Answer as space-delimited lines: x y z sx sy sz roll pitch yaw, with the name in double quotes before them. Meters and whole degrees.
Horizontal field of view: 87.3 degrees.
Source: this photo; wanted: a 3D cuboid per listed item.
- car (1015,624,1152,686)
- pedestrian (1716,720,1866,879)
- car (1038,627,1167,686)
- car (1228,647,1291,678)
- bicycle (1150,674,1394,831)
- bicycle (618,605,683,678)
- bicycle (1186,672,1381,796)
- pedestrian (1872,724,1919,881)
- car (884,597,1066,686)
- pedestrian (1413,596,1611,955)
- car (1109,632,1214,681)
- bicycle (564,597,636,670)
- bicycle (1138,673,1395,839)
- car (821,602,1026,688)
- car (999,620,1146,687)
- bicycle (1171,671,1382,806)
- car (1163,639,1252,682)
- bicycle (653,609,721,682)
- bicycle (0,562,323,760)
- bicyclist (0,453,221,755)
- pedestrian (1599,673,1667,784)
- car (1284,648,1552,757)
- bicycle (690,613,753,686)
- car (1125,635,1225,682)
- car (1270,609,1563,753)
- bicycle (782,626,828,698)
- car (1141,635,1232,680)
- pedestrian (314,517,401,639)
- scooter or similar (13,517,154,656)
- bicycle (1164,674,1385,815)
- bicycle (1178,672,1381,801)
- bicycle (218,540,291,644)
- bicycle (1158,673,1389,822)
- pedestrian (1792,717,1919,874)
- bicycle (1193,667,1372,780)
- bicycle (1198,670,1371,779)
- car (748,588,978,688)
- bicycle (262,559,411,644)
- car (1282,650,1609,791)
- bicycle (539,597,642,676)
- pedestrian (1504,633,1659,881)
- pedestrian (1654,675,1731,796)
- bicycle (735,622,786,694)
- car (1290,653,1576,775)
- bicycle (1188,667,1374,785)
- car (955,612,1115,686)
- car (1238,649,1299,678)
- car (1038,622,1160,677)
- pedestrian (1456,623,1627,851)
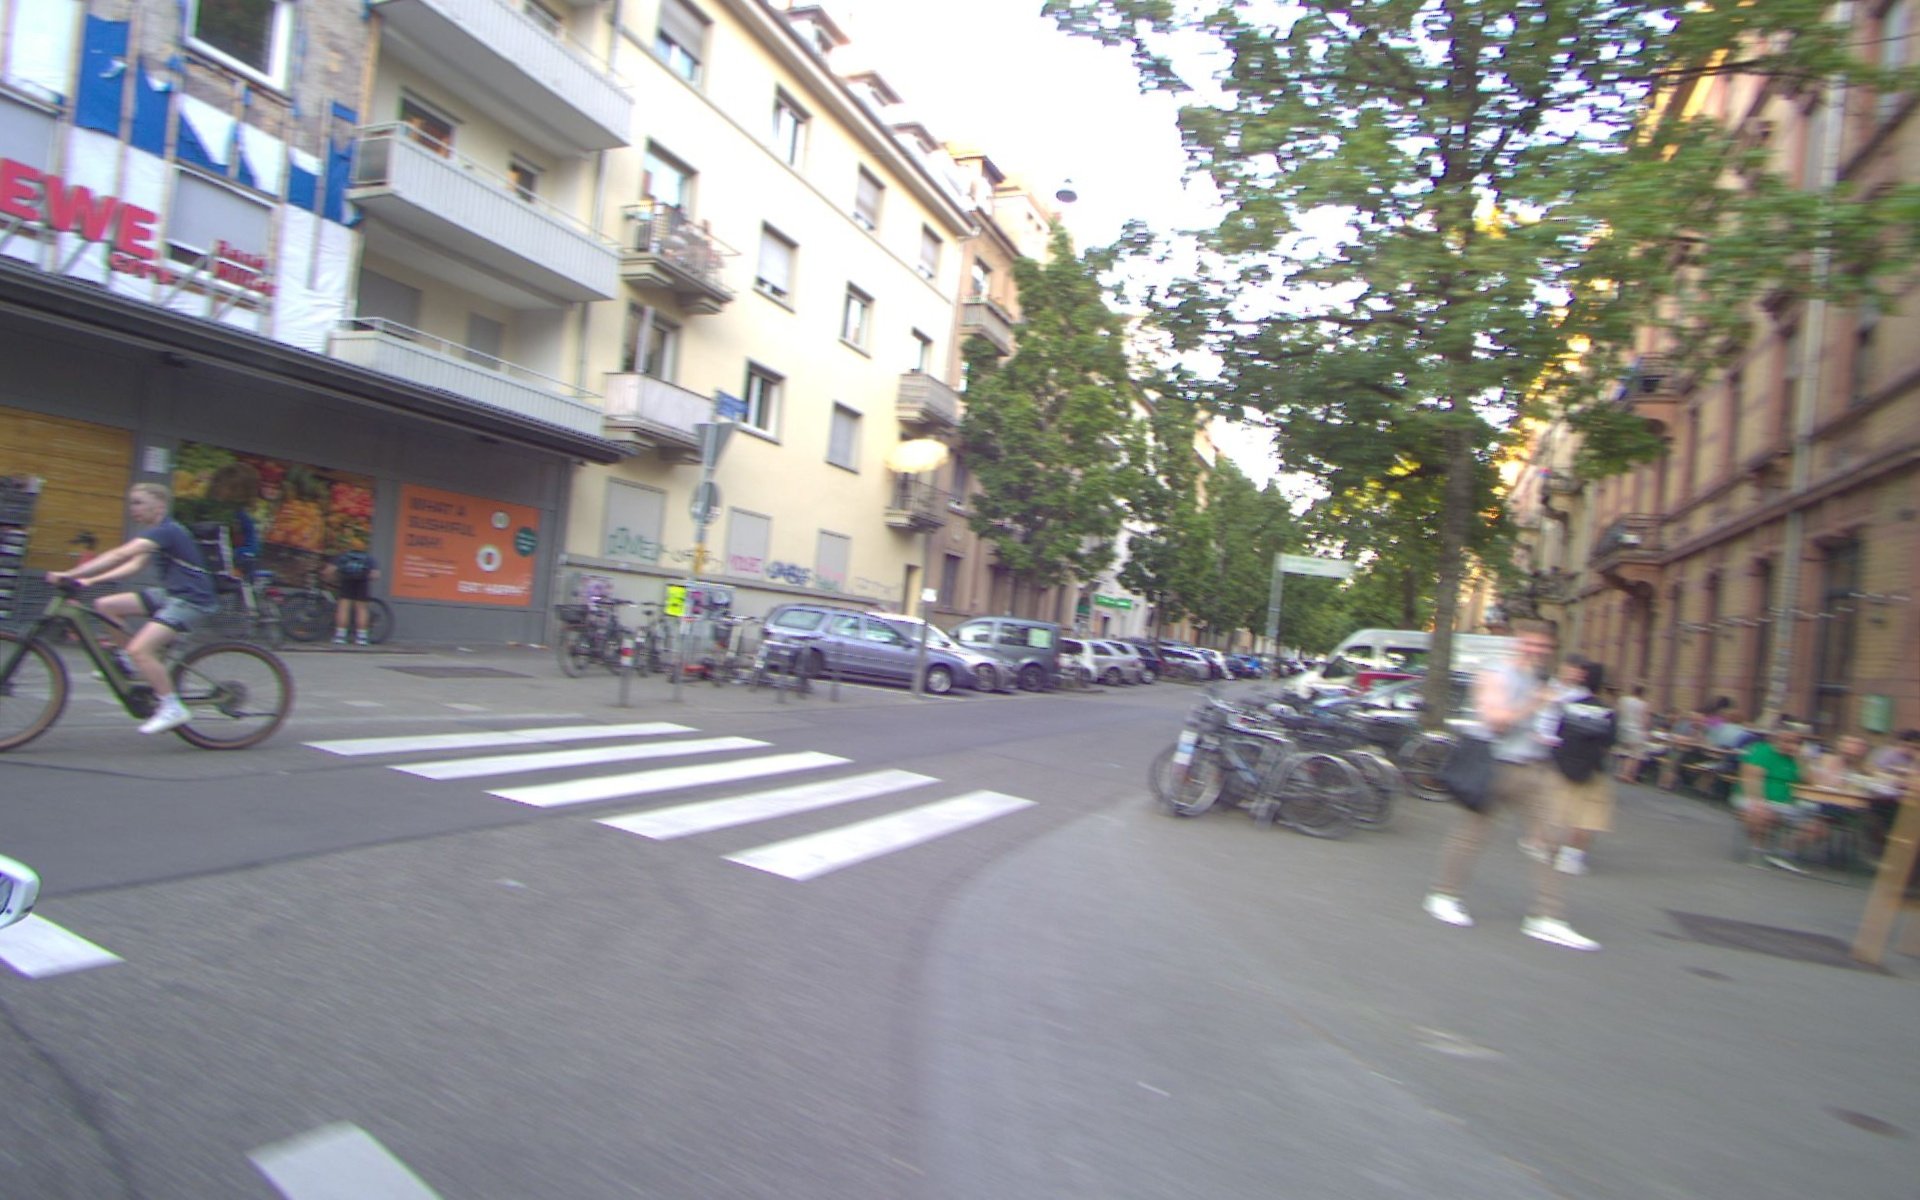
"car" 4.517 2.015 36.955 4.469 1.805 1.997 6 -2 -12
"pedestrian" 7.372 1.752 8.957 0.726 1.246 0.627 5 -1 3
"car" 5.541 2.189 39.320 4.469 1.805 1.997 6 -2 -12
"car" 23.905 4.980 80.413 4.457 1.955 2.003 5 -2 12
"bicycle" 2.831 1.353 9.224 1.998 1.147 0.435 5 -1 21
"bicycle" -4.828 0.657 15.799 0.371 1.038 2.017 5 -2 -2
"bicycle" 3.671 1.499 11.494 1.998 1.147 0.435 5 -1 21
"pedestrian" 8.950 1.862 9.103 0.726 1.361 0.627 5 -1 3
"car" 0.365 1.101 26.369 4.460 1.805 2.001 6 -2 -1
"pedestrian" 3.192 0.964 5.911 0.822 1.849 0.868 5 -2 25
"car" 9.411 2.660 47.184 4.458 1.805 2.002 6 -2 4
"bicycle" -5.605 0.539 15.767 0.371 1.038 2.017 5 -2 -2
"bicycle" 2.633 1.311 8.741 1.998 1.147 0.435 5 -1 21
"car" -0.805 1.072 23.952 4.457 1.544 2.003 5 -2 9
"car" 3.832 1.819 34.483 4.472 1.805 1.996 6 -2 -14
"bicycle" 3.307 1.425 10.604 1.998 1.147 0.435 5 -1 21
"car" 14.028 3.427 57.233 4.458 1.955 2.002 6 -2 4
"bicycle" -4.271 0.716 15.853 0.482 1.038 2.017 5 -2 -2
"bicycle" -5.423 0.380 6.327 2.266 1.086 0.783 8 -1 -37
"bicyclist" -5.370 0.047 6.343 0.989 1.709 0.783 7 0 -36
"pedestrian" 10.992 2.079 16.461 0.734 1.697 0.766 5 -2 29
"car" 8.887 1.957 19.773 4.464 1.544 2.000 5 -2 26
"bicycle" -3.744 0.772 15.906 0.482 1.038 2.017 5 -2 -2
"car" 10.520 2.880 49.497 4.458 1.805 2.002 6 -2 4
"car" 9.848 1.711 22.173 5.441 2.449 2.246 5 -2 22
"bicycle" -2.472 0.978 16.201 0.483 1.038 2.016 6 -2 -4
"car" 12.332 3.153 55.039 4.458 1.955 2.002 6 -2 4
"pedestrian" -8.523 -0.302 14.245 0.705 1.620 0.665 5 -2 29
"scooter or similar" -9.155 -0.138 10.506 1.264 1.281 0.322 7 -1 14
"bicycle" 3.152 1.422 10.161 1.998 1.147 0.435 5 -1 21
"bicycle" 3.488 1.464 11.050 1.998 1.147 0.435 5 -1 21
"bicycle" -8.952 -0.122 12.737 1.786 1.217 0.347 4 -2 45
"bicycle" 2.993 1.384 9.698 1.998 1.147 0.435 5 -1 21
"pedestrian" 8.772 1.875 9.790 0.726 1.361 0.627 5 -1 3
"bicycle" 3.992 1.505 12.509 1.998 1.147 0.435 5 -1 21
"bicycle" 4.161 1.574 12.952 1.998 1.147 0.435 5 -1 21
"car" -2.082 0.810 21.105 4.471 1.544 1.997 6 -2 -13
"bicycle" -8.931 0.054 14.513 0.371 1.038 1.883 5 -2 23
"car" 7.385 1.784 15.634 4.217 1.544 1.910 5 -2 26
"bicycle" -5.282 0.557 14.485 0.371 1.038 1.664 5 -2 17
"pedestrian" 4.901 1.190 7.922 0.855 1.744 0.834 4 -2 37
"pedestrian" 11.087 2.033 15.248 0.734 1.697 0.766 5 -2 29
"bicycle" -3.175 0.905 16.147 0.483 1.038 2.016 6 -2 -4
"car" 8.170 1.927 17.657 4.217 1.544 1.910 5 -2 26
"bicycle" 3.814 1.481 12.034 1.998 1.147 0.435 5 -1 21
"car" 2.317 1.534 31.414 4.472 1.805 1.996 6 -2 -14
"car" 25.371 5.246 82.932 4.457 1.955 2.003 5 -2 12
"car" 5.753 2.041 41.862 4.469 1.805 1.997 6 -2 -12
"pedestrian" 5.106 1.171 8.889 0.853 1.849 0.837 6 -1 -6
